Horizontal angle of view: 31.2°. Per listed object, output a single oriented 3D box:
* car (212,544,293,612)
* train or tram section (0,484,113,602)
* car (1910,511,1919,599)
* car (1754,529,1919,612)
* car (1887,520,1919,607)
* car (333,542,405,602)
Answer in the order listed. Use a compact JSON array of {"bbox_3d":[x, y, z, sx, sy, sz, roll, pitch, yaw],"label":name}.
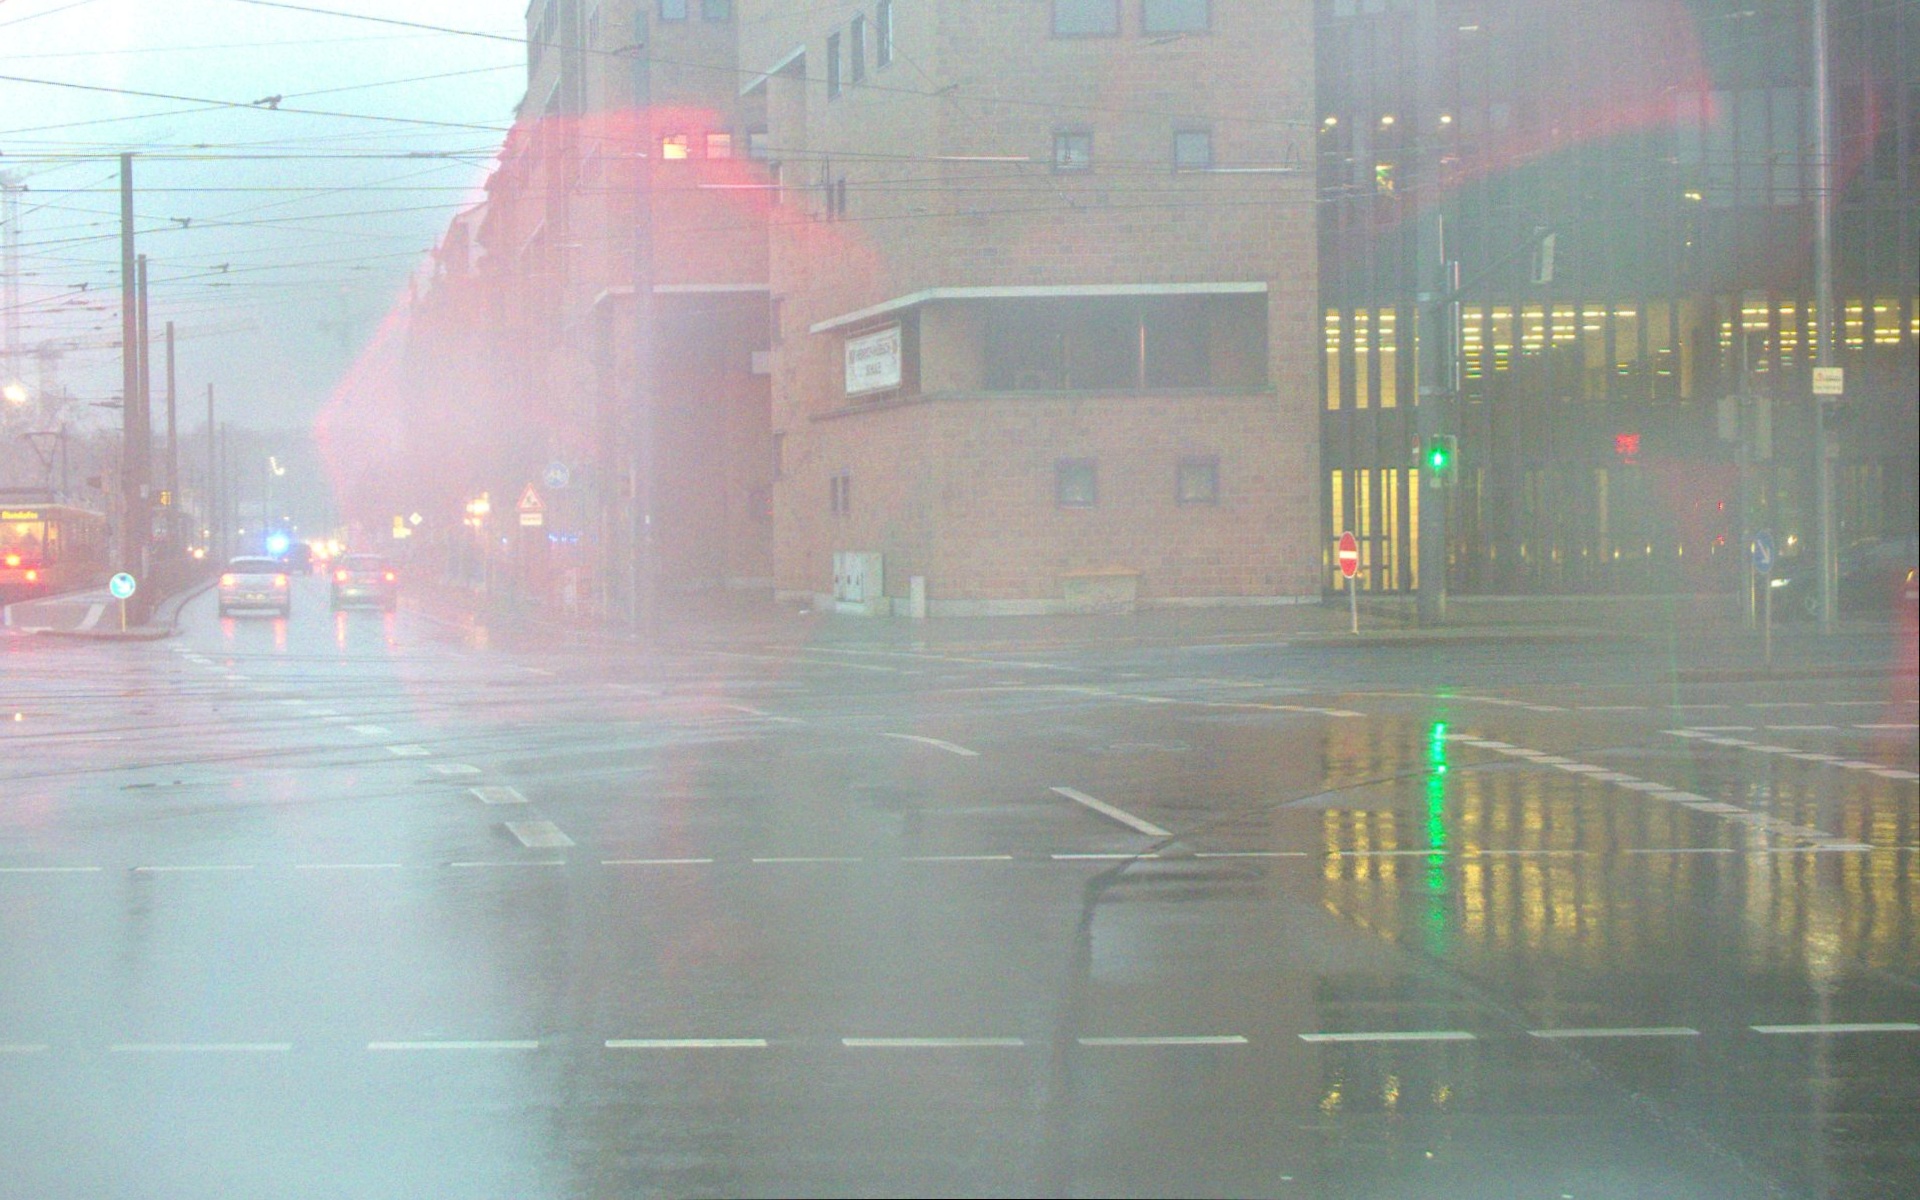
[{"bbox_3d":[-17.662,-0.572,85.977,1.870,1.573,4.001,1,1,-10],"label":"car"},{"bbox_3d":[-30.571,-1.857,113.794,3.190,3.424,27.839,-1,1,-10],"label":"train or tram section"},{"bbox_3d":[16.039,-0.620,49.796,3.986,1.258,1.848,-1,5,-6],"label":"car"},{"bbox_3d":[15.604,-0.520,57.713,3.986,1.305,2.000,-1,1,-4],"label":"car"},{"bbox_3d":[16.685,-0.587,53.885,3.719,1.258,1.848,-1,5,-6],"label":"car"},{"bbox_3d":[-16.594,-0.808,96.655,1.870,1.573,4.001,1,1,-9],"label":"car"}]
